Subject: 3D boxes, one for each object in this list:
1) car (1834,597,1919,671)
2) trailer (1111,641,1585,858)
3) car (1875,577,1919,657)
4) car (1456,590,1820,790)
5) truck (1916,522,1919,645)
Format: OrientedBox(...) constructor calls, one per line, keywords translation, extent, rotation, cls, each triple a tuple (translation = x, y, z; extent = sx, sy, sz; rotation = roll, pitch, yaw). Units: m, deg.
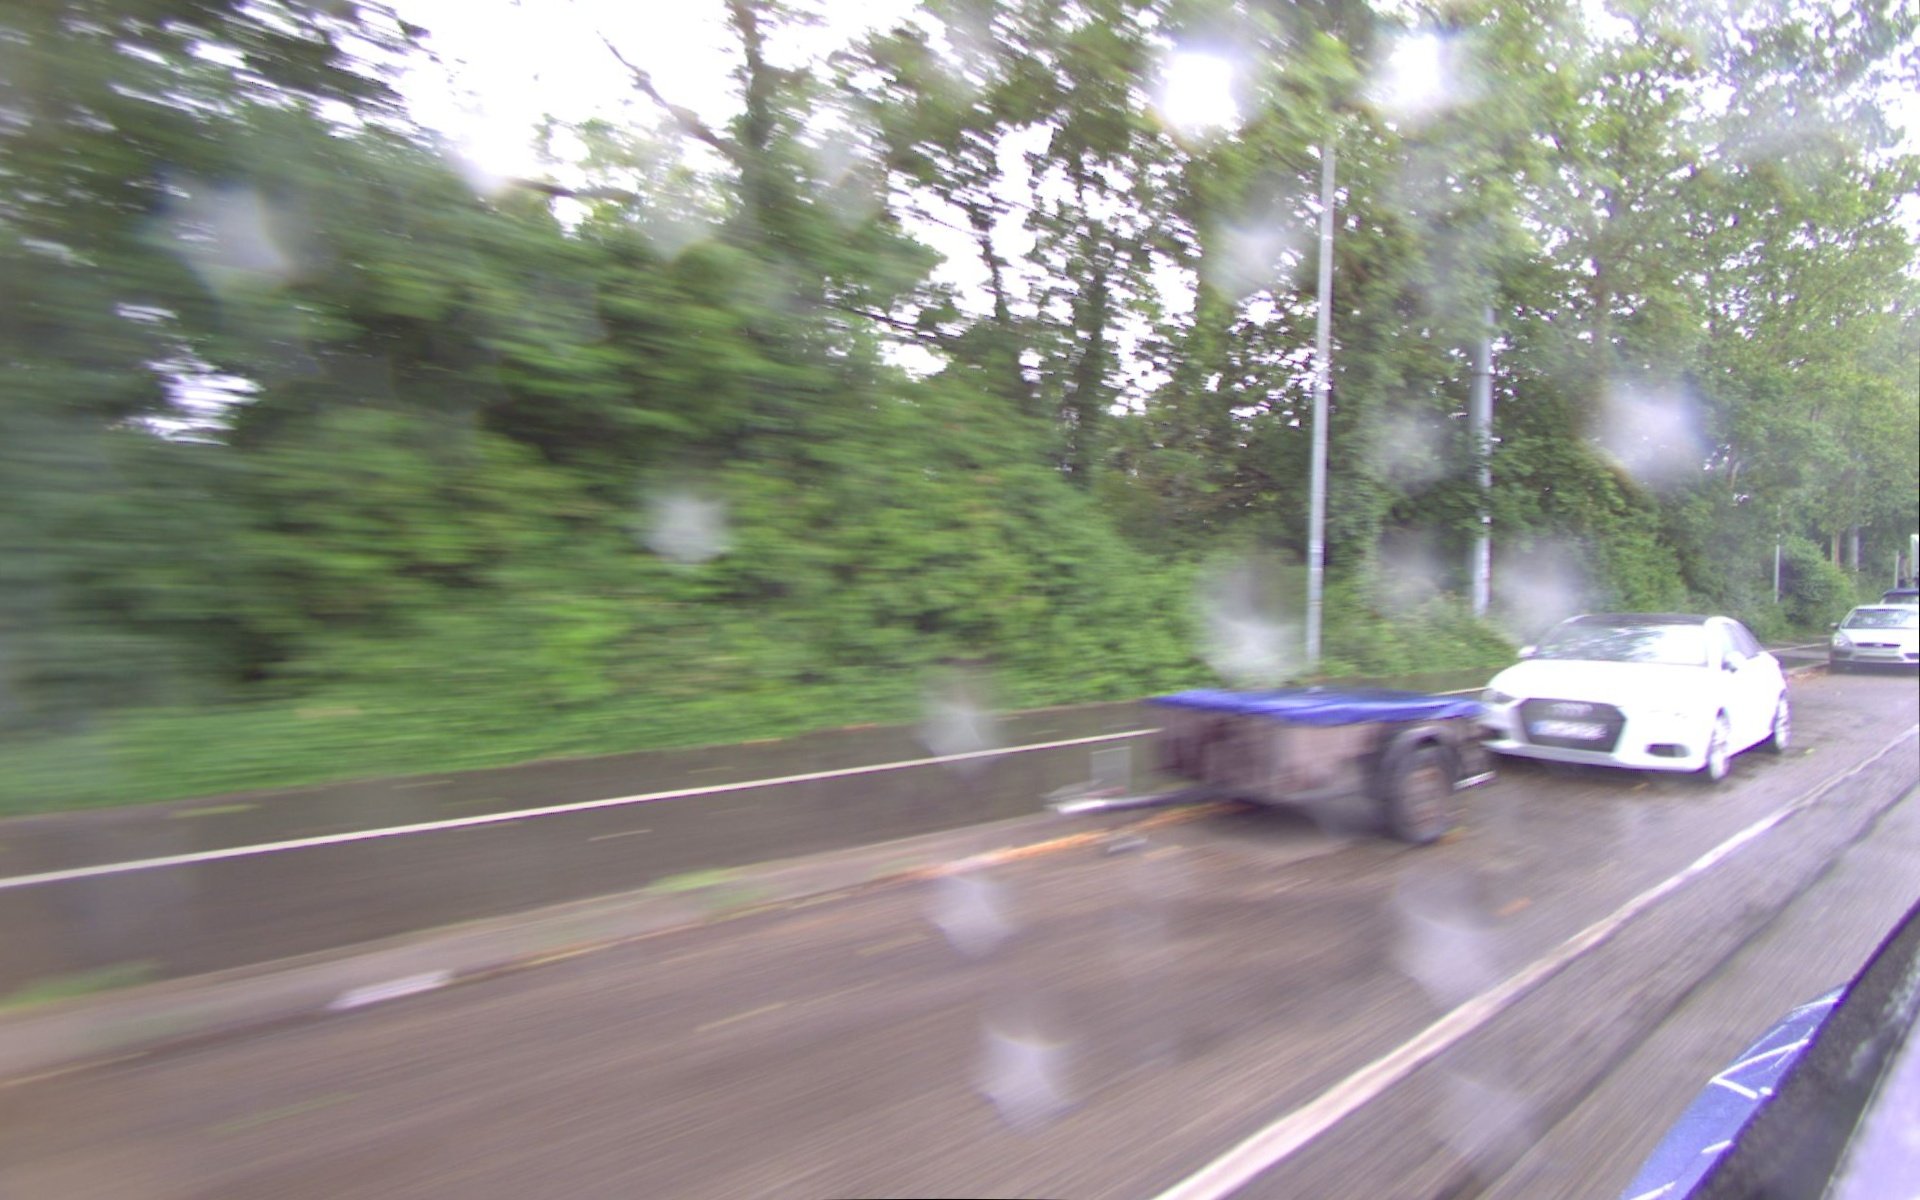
OrientedBox(translation=(20.855, 0.679, 22.303), extent=(4.270, 1.478, 1.816), rotation=(-1, 0, -41), cls="car")
OrientedBox(translation=(2.785, 0.883, 7.065), extent=(3.375, 1.059, 1.382), rotation=(0, 0, -33), cls="trailer")
OrientedBox(translation=(26.157, 0.428, 27.081), extent=(4.892, 2.039, 1.879), rotation=(0, -1, -41), cls="car")
OrientedBox(translation=(6.685, 0.685, 9.783), extent=(4.402, 1.505, 1.822), rotation=(0, -1, -41), cls="car")
OrientedBox(translation=(33.799, -0.543, 33.227), extent=(9.684, 3.750, 2.779), rotation=(-1, 1, -42), cls="truck")
